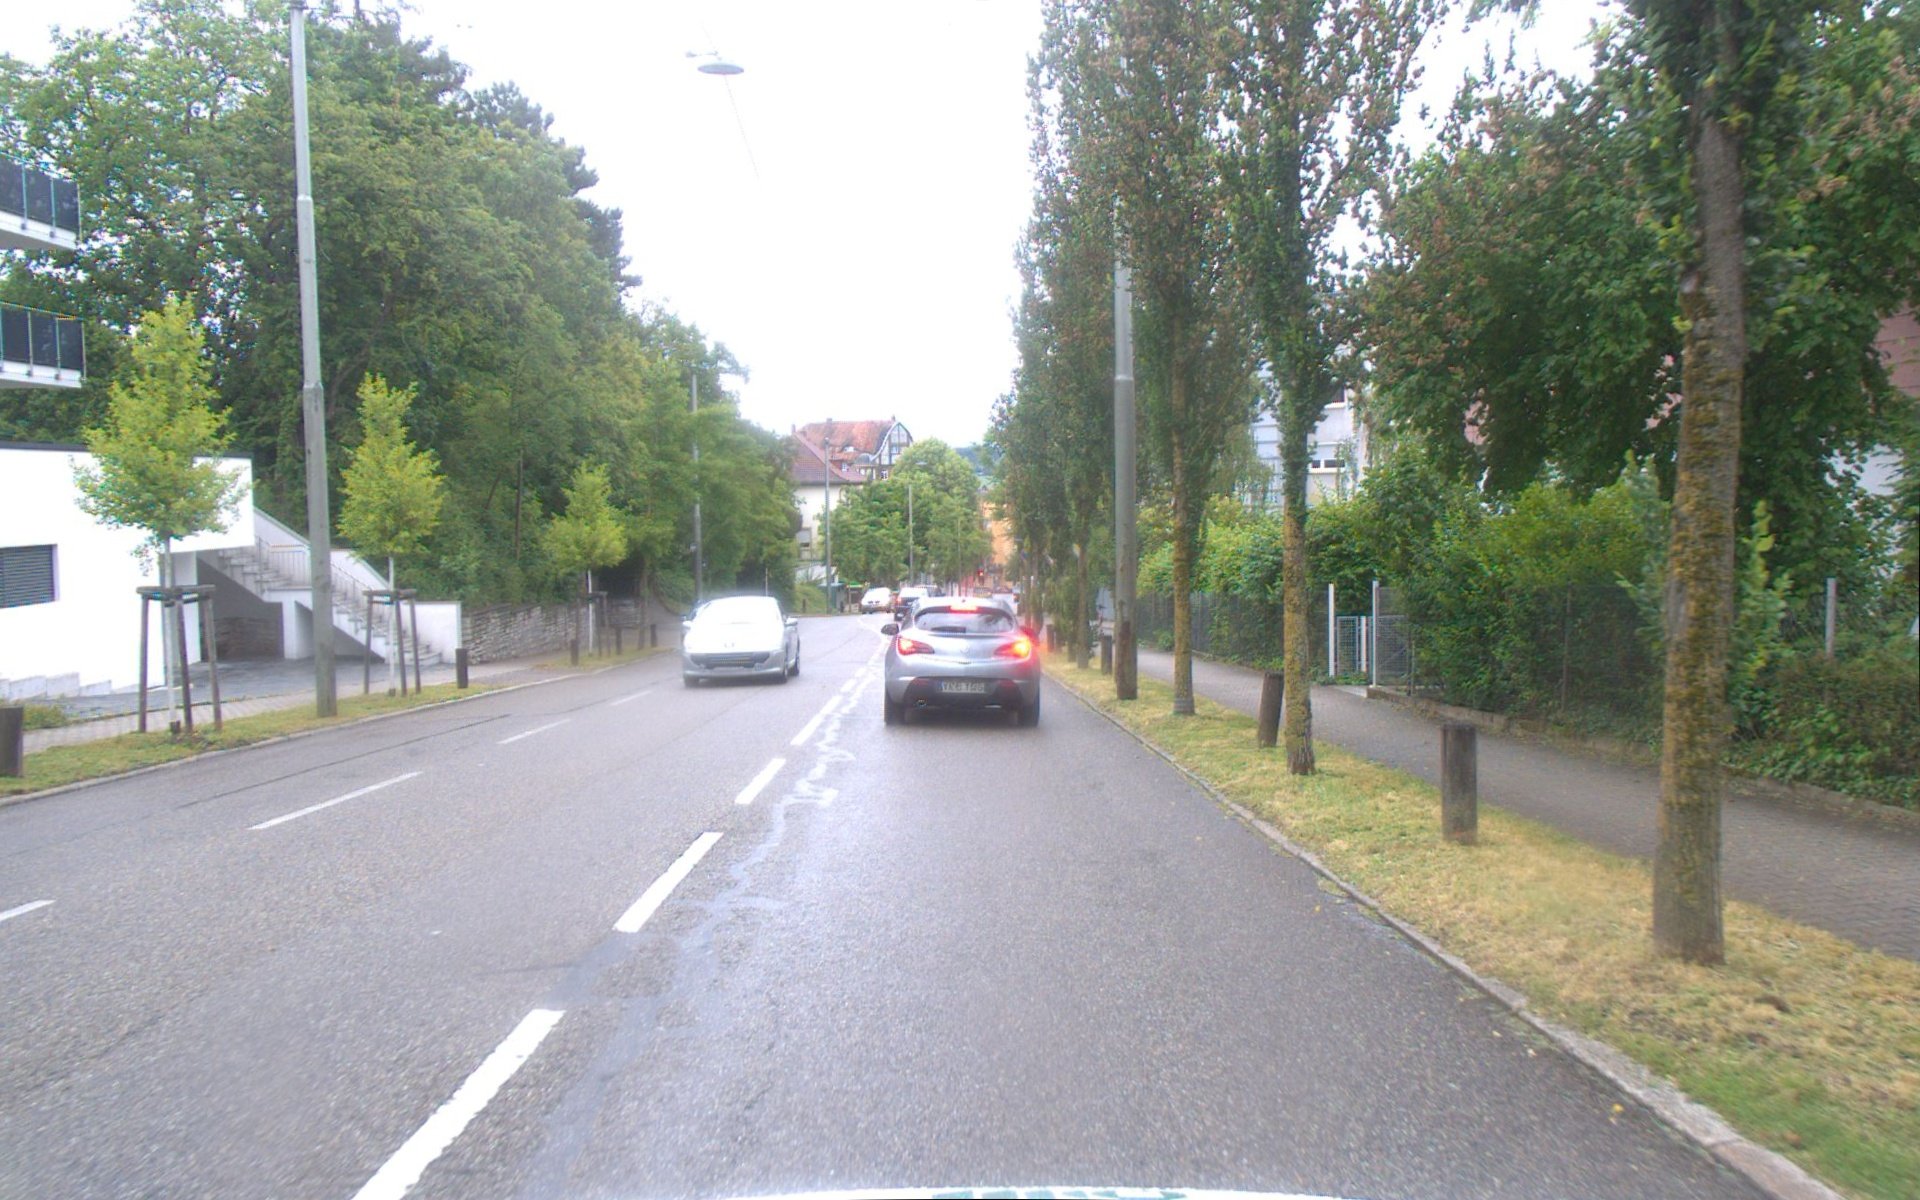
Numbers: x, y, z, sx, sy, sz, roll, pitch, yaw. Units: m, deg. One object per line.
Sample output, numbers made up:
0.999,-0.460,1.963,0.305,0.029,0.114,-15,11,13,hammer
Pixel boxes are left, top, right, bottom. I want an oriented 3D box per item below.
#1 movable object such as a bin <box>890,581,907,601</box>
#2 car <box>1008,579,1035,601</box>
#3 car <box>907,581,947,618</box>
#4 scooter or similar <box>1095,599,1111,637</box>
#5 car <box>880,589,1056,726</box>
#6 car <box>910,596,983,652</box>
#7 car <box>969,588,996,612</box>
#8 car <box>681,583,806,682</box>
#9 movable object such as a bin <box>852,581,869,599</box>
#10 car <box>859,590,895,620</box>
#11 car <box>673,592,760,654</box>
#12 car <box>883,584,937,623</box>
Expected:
-4.527,-0.658,121.546,1.245,1.411,0.489,0,1,4,movable object such as a bin
6.131,-1.042,165.358,2.284,2.071,4.739,2,1,7,car
-1.739,-0.063,88.937,1.731,1.812,3.979,2,1,4,car
4.890,0.601,56.605,0.336,1.276,1.267,2,-1,-2,scooter or similar
0.064,0.636,20.221,1.906,1.457,3.883,2,0,-1,car
-0.304,0.584,42.465,1.760,1.346,4.001,0,0,1,car
1.720,0.003,125.000,1.717,1.679,4.002,2,0,4,car
-3.627,0.524,28.298,1.726,1.512,3.998,-2,0,-2,car
-7.692,-0.782,127.471,1.245,1.411,0.489,1,1,4,movable object such as a bin
-4.726,0.265,94.442,1.729,1.511,3.802,-3,1,1,car
-6.876,0.636,47.023,1.709,1.576,3.918,-4,0,1,car
-2.142,0.130,71.900,1.919,1.497,3.953,2,1,4,car
